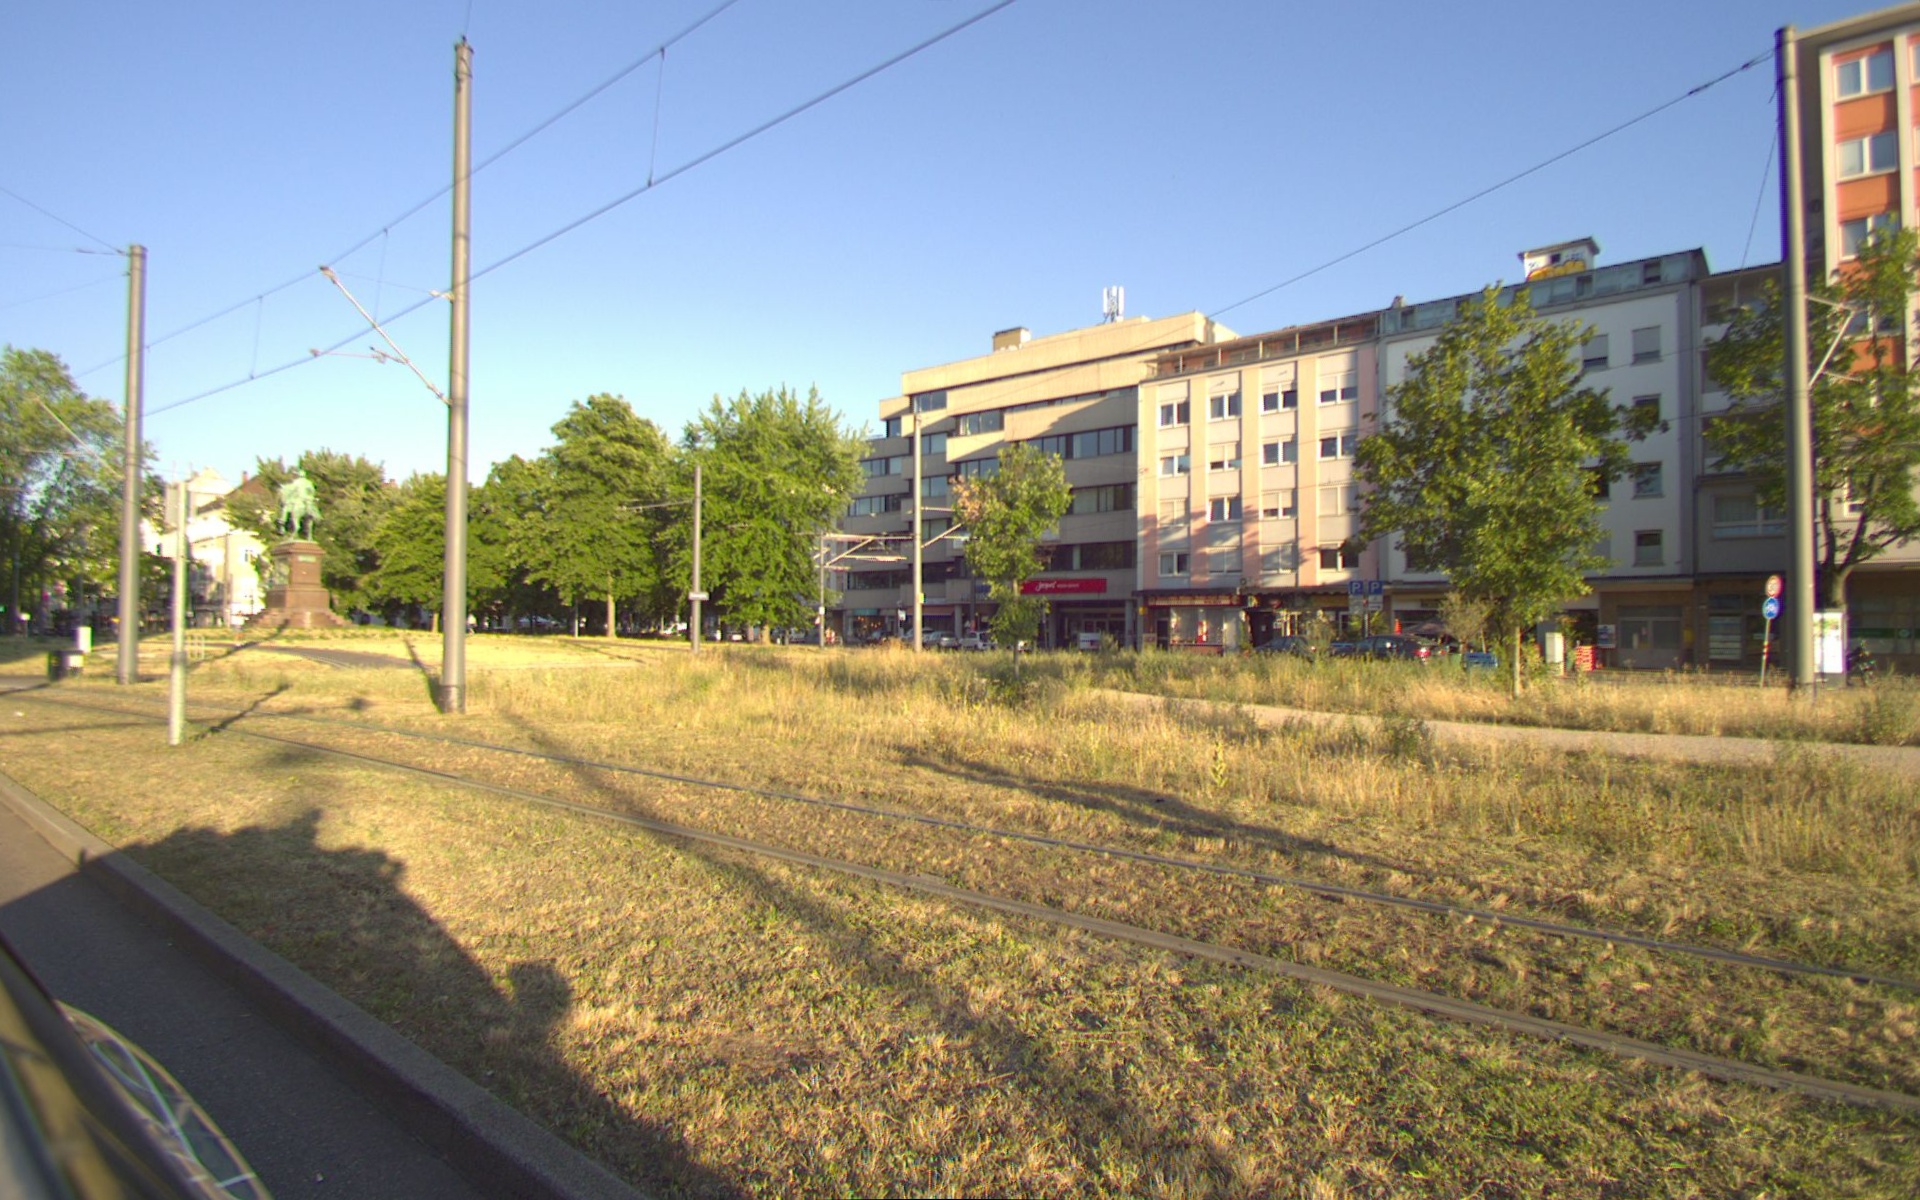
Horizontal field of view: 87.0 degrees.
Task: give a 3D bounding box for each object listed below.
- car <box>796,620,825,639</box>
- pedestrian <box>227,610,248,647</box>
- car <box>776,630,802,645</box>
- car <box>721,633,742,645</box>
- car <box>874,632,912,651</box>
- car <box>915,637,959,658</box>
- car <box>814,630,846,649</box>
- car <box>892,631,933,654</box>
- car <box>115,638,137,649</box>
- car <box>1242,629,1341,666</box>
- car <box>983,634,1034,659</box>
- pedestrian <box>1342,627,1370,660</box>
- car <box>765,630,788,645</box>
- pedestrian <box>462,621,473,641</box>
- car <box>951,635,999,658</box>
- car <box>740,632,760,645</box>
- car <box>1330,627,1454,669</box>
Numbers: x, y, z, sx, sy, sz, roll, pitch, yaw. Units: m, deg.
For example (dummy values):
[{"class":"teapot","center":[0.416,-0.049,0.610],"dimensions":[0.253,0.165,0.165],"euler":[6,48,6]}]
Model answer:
[{"class":"car","center":[-15.945,3.183,107.705],"dimensions":[1.729,1.959,4.222],"euler":[1,-3,-27]},{"class":"pedestrian","center":[-34.058,1.349,47.705],"dimensions":[0.831,1.703,0.472],"euler":[-1,-3,26]},{"class":"car","center":[-19.466,4.292,114.977],"dimensions":[1.729,1.676,4.012],"euler":[1,-3,-27]},{"class":"car","center":[-29.384,5.039,130.060],"dimensions":[1.681,1.401,4.013],"euler":[1,-3,-25]},{"class":"car","center":[-5.824,3.578,87.816],"dimensions":[1.833,1.569,4.081],"euler":[1,-3,-27]},{"class":"car","center":[-1.795,3.629,76.927],"dimensions":[1.729,1.564,4.012],"euler":[1,-3,-27]},{"class":"car","center":[-13.117,3.985,101.715],"dimensions":[1.906,1.808,4.222],"euler":[1,-3,-27]},{"class":"car","center":[-3.917,3.466,82.522],"dimensions":[1.729,1.808,4.222],"euler":[1,-3,-27]},{"class":"car","center":[-118.279,6.146,143.520],"dimensions":[3.965,1.564,1.778],"euler":[-3,-4,41]},{"class":"car","center":[14.445,2.092,44.328],"dimensions":[1.729,1.538,4.012],"euler":[1,-3,-27]},{"class":"car","center":[3.181,3.067,66.887],"dimensions":[1.729,1.564,4.013],"euler":[0,-3,-24]},{"class":"pedestrian","center":[18.352,2.015,46.902],"dimensions":[0.852,1.540,1.107],"euler":[-3,-4,38]},{"class":"car","center":[-21.790,4.452,120.037],"dimensions":[1.766,1.592,4.013],"euler":[0,-3,-23]},{"class":"pedestrian","center":[-40.291,2.539,82.770],"dimensions":[0.553,1.593,0.611],"euler":[-3,-4,42]},{"class":"car","center":[1.016,3.327,71.574],"dimensions":[1.729,1.564,4.012],"euler":[1,-3,-27]},{"class":"car","center":[-27.270,4.998,131.212],"dimensions":[1.766,1.592,4.013],"euler":[0,-3,-23]},{"class":"car","center":[16.718,1.889,39.404],"dimensions":[1.729,1.538,4.305],"euler":[1,-3,-27]}]
